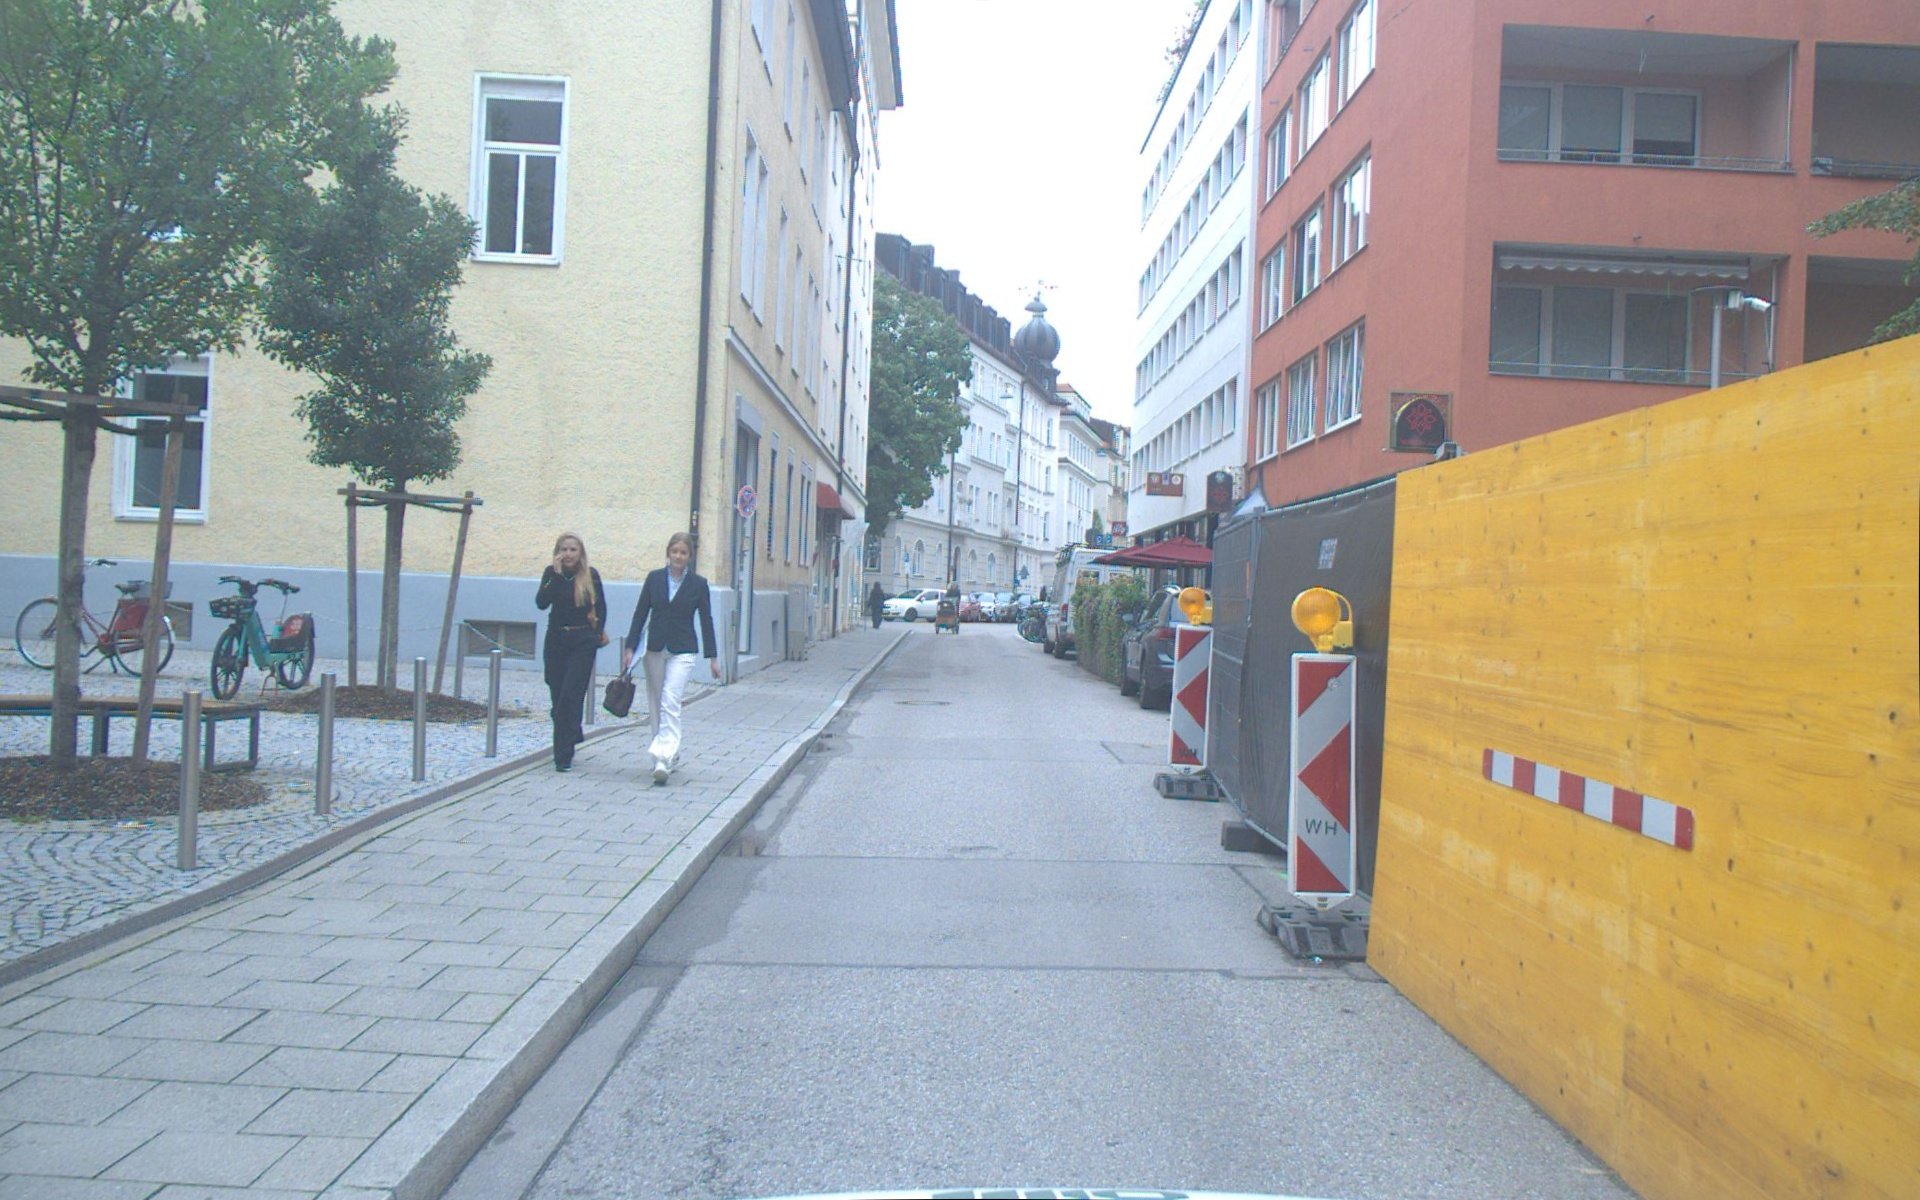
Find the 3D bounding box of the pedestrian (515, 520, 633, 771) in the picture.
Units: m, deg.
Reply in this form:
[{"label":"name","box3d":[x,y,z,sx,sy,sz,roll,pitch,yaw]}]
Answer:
[{"label":"pedestrian","box3d":[-2.730,0.311,11.775,0.541,1.688,0.997,2,0,-1]}]

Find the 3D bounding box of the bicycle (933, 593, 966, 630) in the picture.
[{"label":"bicycle","box3d":[-0.349,0.423,59.071,0.912,1.279,2.415,1,0,5]}]

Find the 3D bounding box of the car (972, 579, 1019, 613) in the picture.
[{"label":"car","box3d":[1.969,-0.192,90.402,1.901,1.731,4.003,3,0,10]}]

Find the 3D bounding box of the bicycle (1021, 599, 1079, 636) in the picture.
[{"label":"bicycle","box3d":[3.002,0.582,55.279,1.837,1.114,0.440,2,1,-4]}]

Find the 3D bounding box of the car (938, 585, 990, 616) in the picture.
[{"label":"car","box3d":[0.236,0.053,80.727,1.694,1.402,4.230,3,0,11]}]

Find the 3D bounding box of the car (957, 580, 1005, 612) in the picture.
[{"label":"car","box3d":[1.111,-0.197,85.459,1.951,1.499,4.222,3,0,8]}]

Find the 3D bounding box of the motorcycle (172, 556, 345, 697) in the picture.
[{"label":"motorcycle","box3d":[-6.498,0.239,15.447,0.564,1.193,1.982,3,0,5]}]

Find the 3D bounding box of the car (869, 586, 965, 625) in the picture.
[{"label":"car","box3d":[-1.880,0.232,72.819,3.722,1.605,1.978,2,-1,-32]}]

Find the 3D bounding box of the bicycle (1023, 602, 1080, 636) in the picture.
[{"label":"bicycle","box3d":[3.090,0.654,55.983,1.837,1.070,0.564,2,-1,-4]}]

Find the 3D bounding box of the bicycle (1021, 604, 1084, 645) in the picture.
[{"label":"bicycle","box3d":[2.862,0.758,51.043,1.836,1.098,0.488,5,1,-3]}]

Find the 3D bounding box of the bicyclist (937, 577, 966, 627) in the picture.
[{"label":"bicyclist","box3d":[-0.316,0.074,59.335,0.907,1.751,1.100,1,0,5]}]

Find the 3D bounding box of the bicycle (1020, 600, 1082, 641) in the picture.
[{"label":"bicycle","box3d":[2.867,0.639,52.173,1.836,1.127,0.488,4,1,-3]}]

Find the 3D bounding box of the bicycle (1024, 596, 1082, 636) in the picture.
[{"label":"bicycle","box3d":[3.039,0.522,54.109,1.836,1.225,0.579,1,0,-3]}]

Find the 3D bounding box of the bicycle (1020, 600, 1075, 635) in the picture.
[{"label":"bicycle","box3d":[3.010,0.601,57.119,1.837,1.098,0.408,2,1,-4]}]

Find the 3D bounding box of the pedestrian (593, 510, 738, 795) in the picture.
[{"label":"pedestrian","box3d":[-2.027,0.348,11.511,0.760,1.868,0.991,2,0,-1]}]

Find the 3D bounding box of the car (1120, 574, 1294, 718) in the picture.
[{"label":"car","box3d":[3.388,0.582,23.490,1.787,1.739,4.389,3,0,1]}]

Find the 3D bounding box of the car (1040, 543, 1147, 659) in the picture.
[{"label":"car","box3d":[3.203,0.002,40.893,1.882,2.549,5.996,4,0,-1]}]

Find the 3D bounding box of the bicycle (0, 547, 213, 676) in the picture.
[{"label":"bicycle","box3d":[-8.895,0.110,17.120,1.933,1.193,0.748,3,0,4]}]

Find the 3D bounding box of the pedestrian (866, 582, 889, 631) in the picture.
[{"label":"pedestrian","box3d":[-2.844,0.226,57.285,0.679,1.660,0.663,3,0,-1]}]
